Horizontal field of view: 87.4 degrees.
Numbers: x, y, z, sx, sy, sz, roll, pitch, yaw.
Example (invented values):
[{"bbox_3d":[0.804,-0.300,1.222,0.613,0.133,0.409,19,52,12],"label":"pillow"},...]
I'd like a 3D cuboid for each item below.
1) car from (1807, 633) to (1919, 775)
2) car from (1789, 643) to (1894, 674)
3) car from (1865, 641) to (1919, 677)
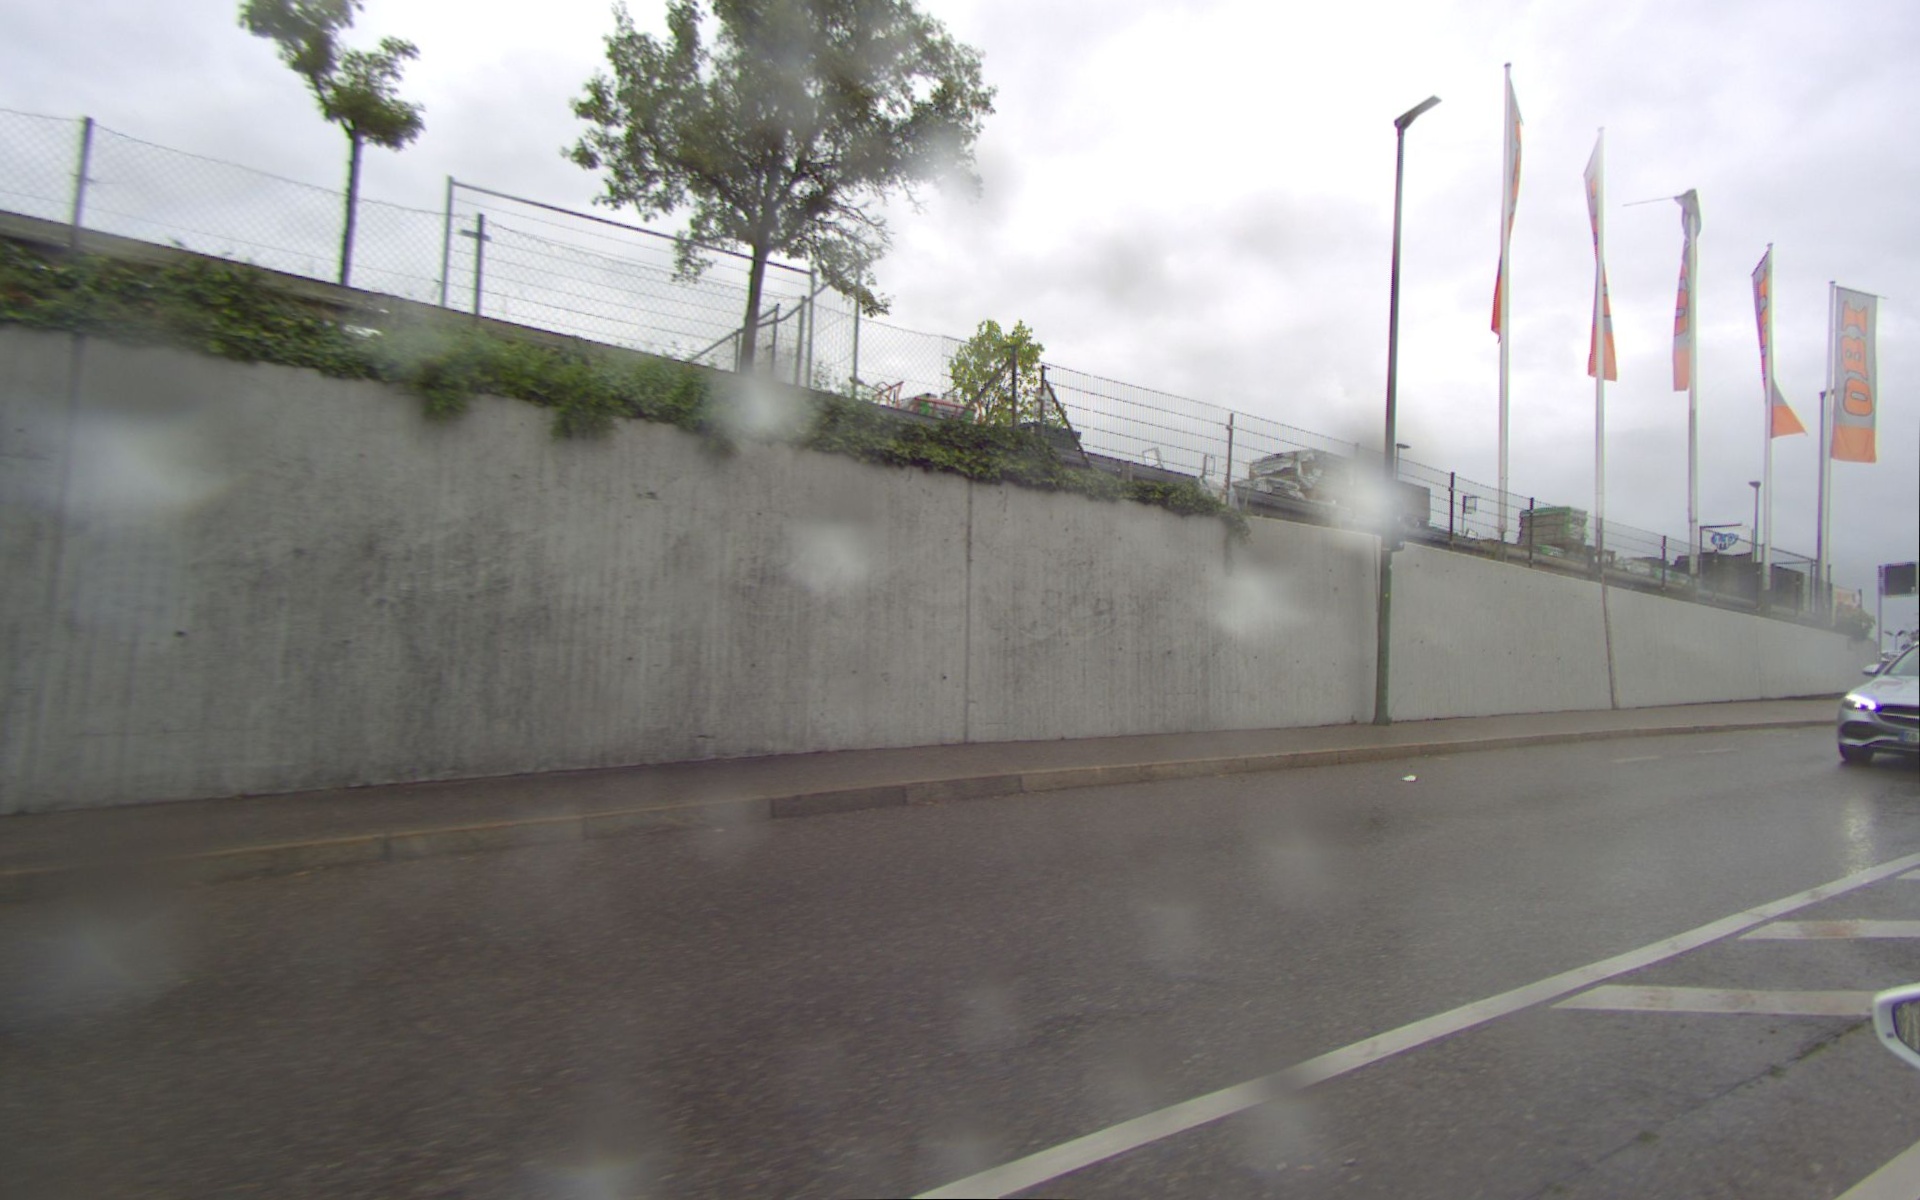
[{"bbox_3d":[12.025,1.133,11.803,4.732,1.445,1.989,1,-1,-34],"label":"car"},{"bbox_3d":[43.161,2.862,49.244,1.981,1.302,3.507,5,-4,-34],"label":"car"},{"bbox_3d":[56.761,3.530,60.773,4.952,2.040,1.980,2,-2,-36],"label":"car"}]
